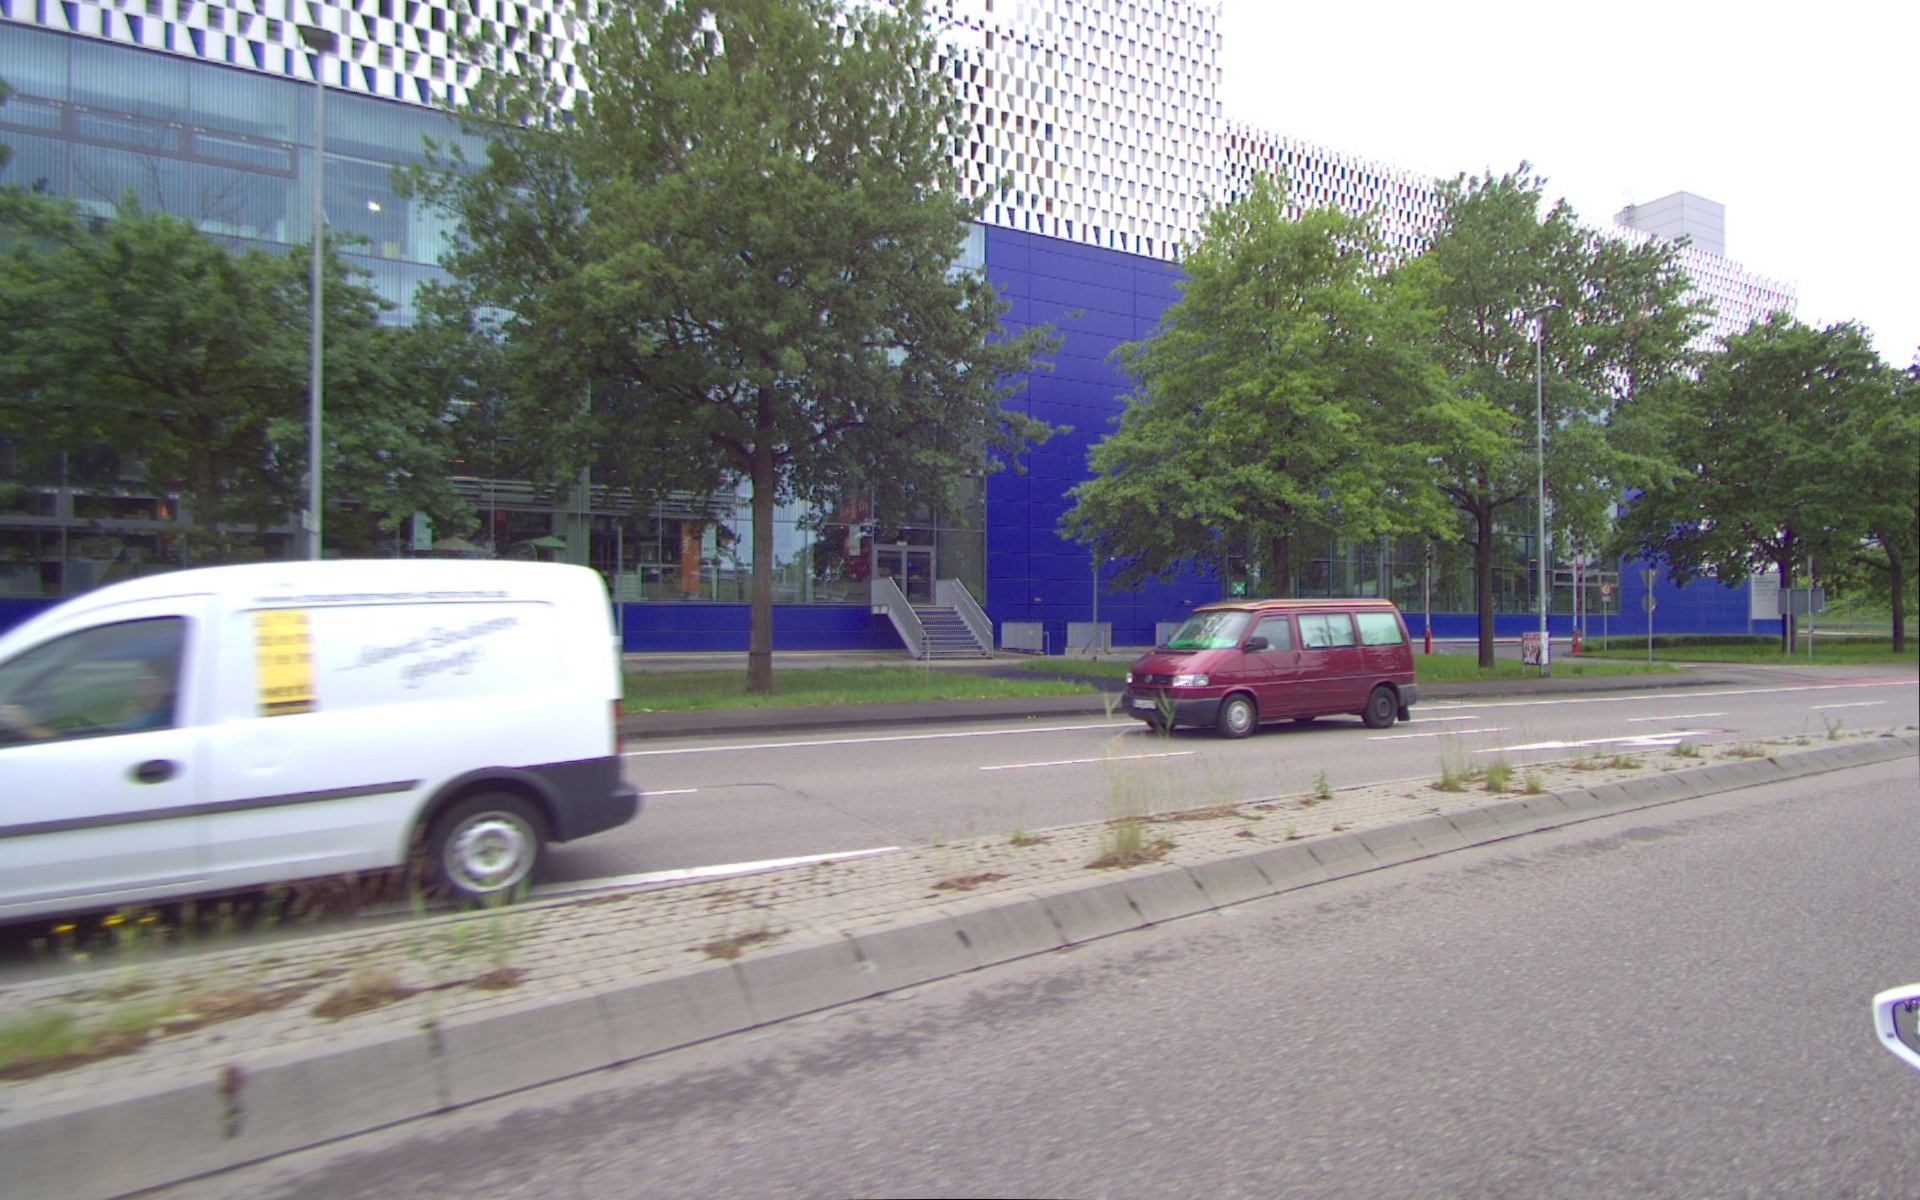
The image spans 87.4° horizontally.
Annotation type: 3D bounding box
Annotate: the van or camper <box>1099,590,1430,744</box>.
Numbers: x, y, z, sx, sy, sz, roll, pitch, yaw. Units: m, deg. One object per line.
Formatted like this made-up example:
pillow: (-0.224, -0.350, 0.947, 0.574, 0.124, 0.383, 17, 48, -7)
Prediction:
van or camper: (4.627, 0.903, 15.106, 4.827, 2.013, 1.868, 0, -2, -27)

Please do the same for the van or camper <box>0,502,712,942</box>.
van or camper: (-3.693, 0.555, 5.214, 4.358, 1.769, 1.746, 1, -4, -33)
